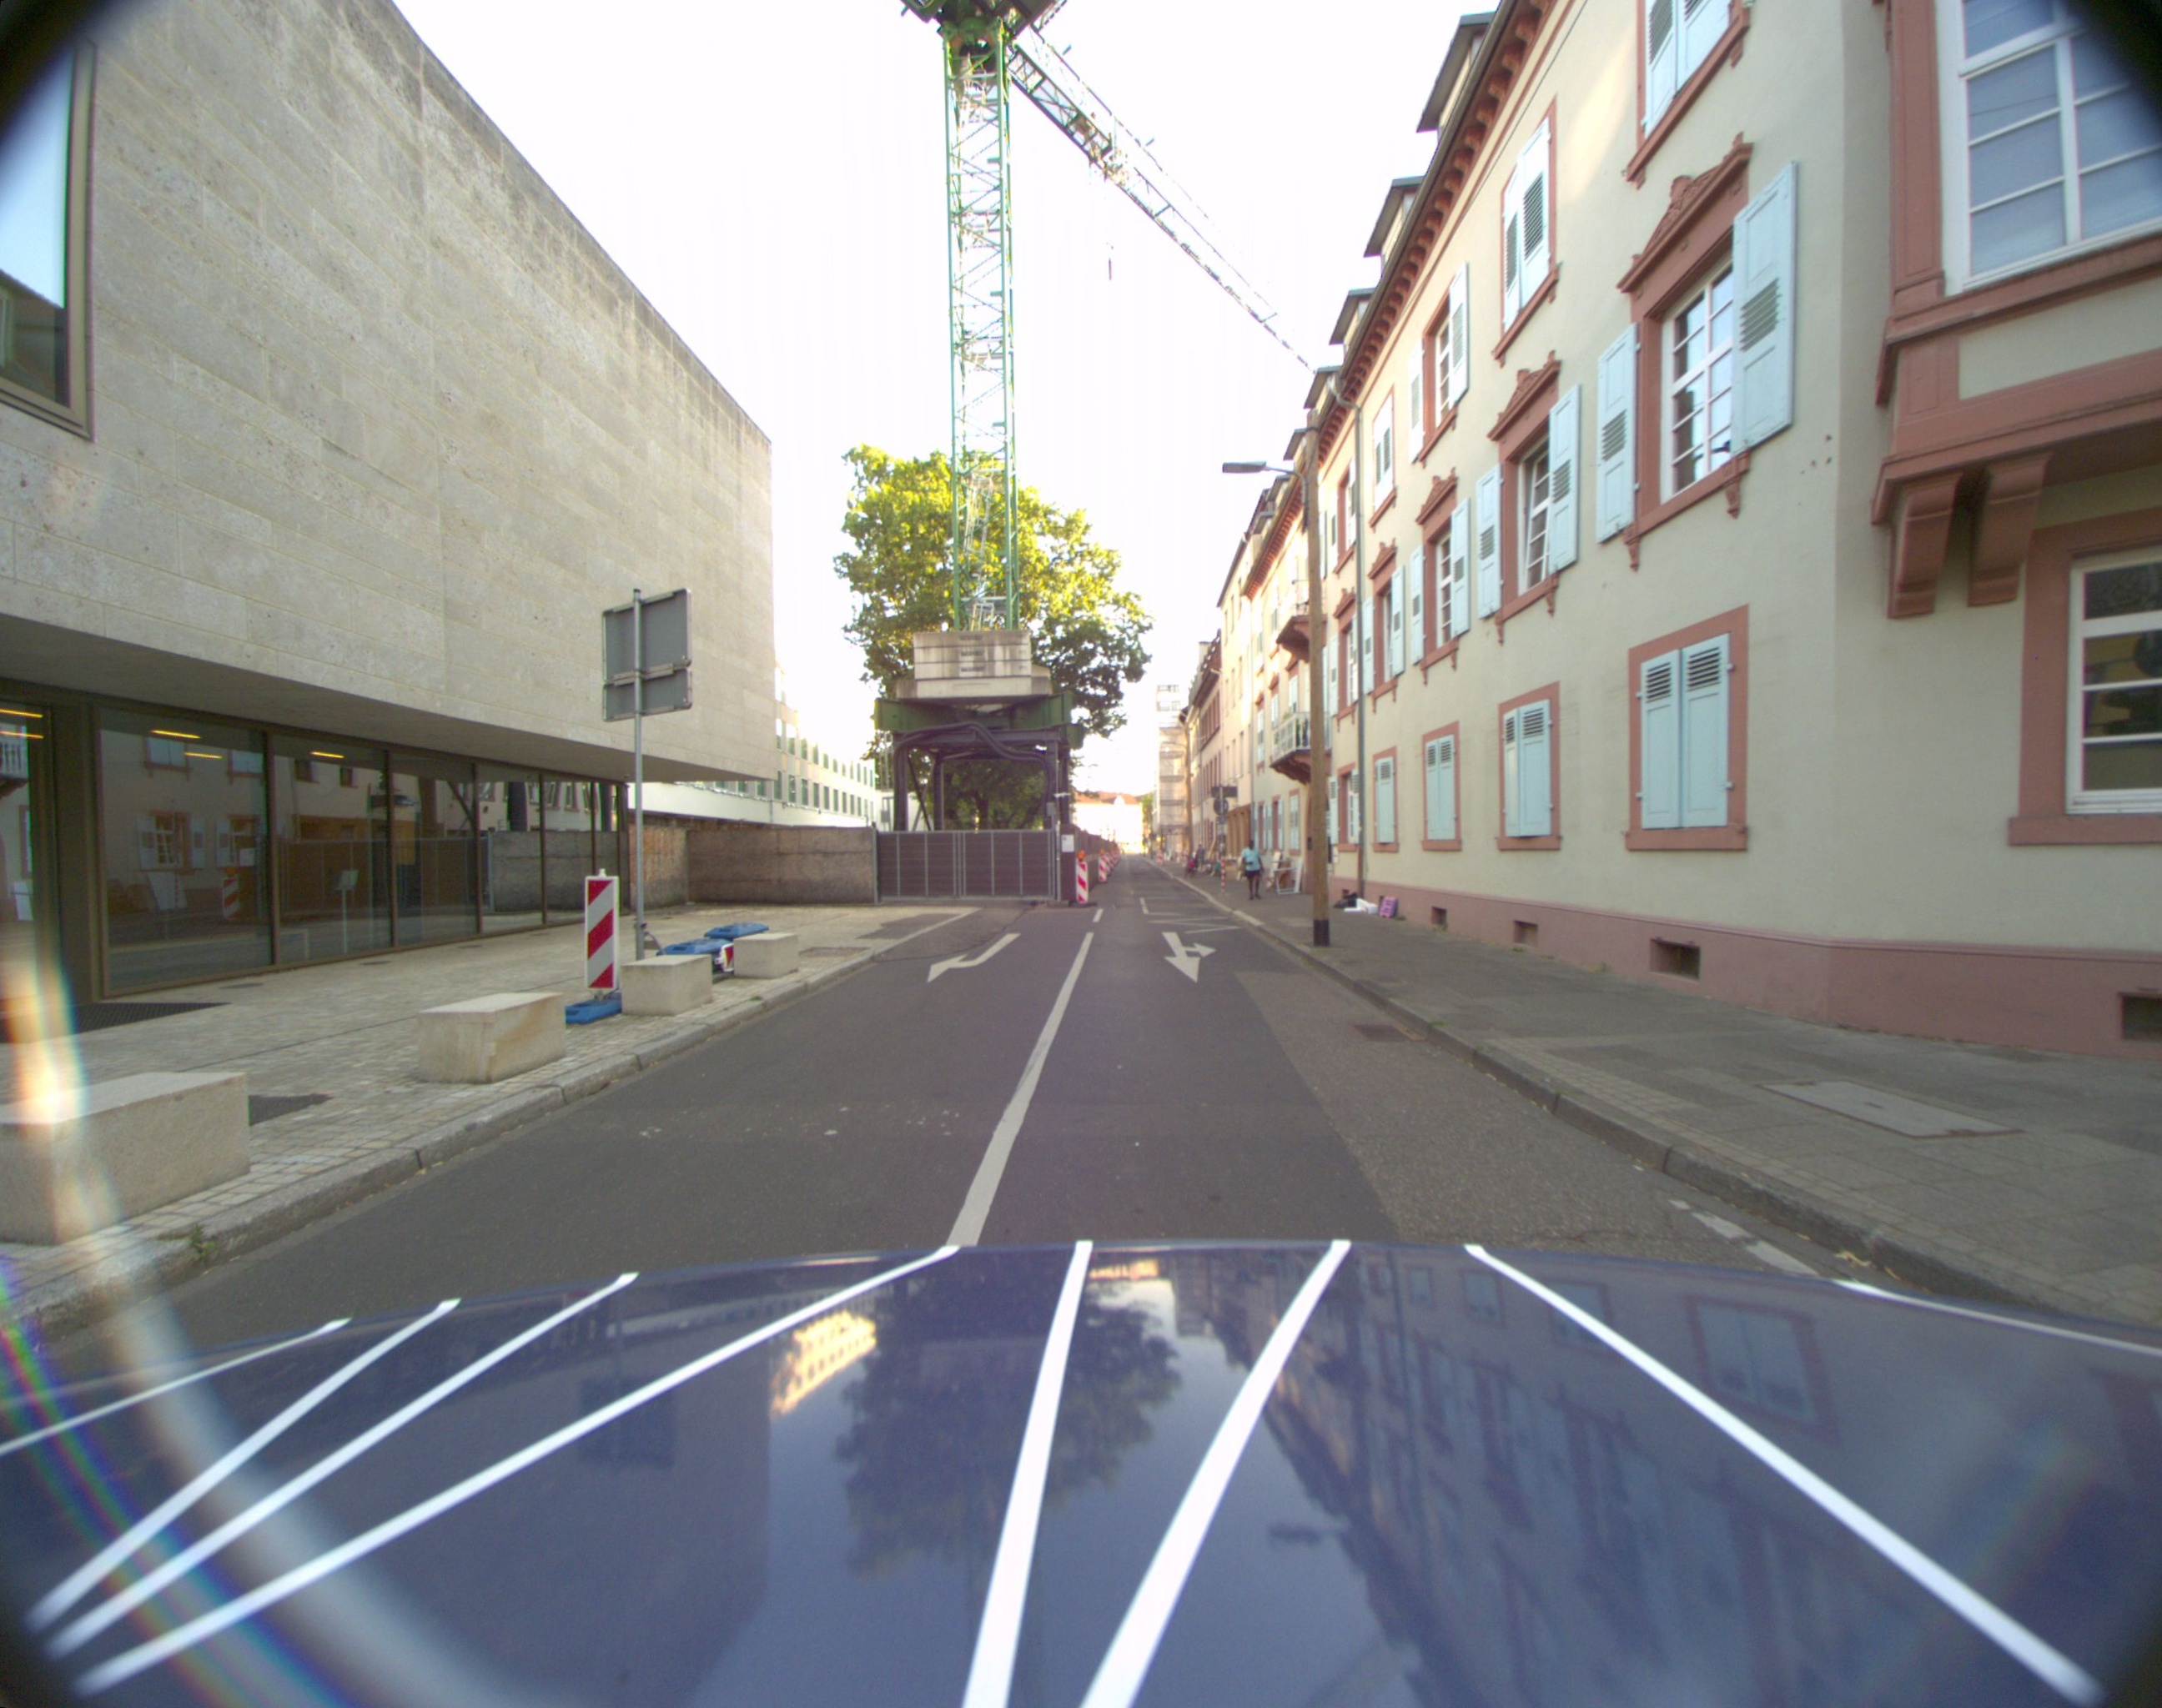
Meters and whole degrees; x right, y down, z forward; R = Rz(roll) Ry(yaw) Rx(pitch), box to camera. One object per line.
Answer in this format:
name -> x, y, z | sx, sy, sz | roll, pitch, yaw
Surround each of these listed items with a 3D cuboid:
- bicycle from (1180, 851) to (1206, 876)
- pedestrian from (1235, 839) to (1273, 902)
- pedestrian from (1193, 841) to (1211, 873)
bicycle -> 5.441, 0.465, 36.836 | 0.659, 1.163, 1.611 | -1, 1, 29
pedestrian -> 4.850, 0.458, 21.283 | 0.826, 1.687, 0.649 | -4, 1, 2
pedestrian -> 6.402, 0.157, 40.351 | 0.826, 1.687, 0.649 | -2, 1, 2
